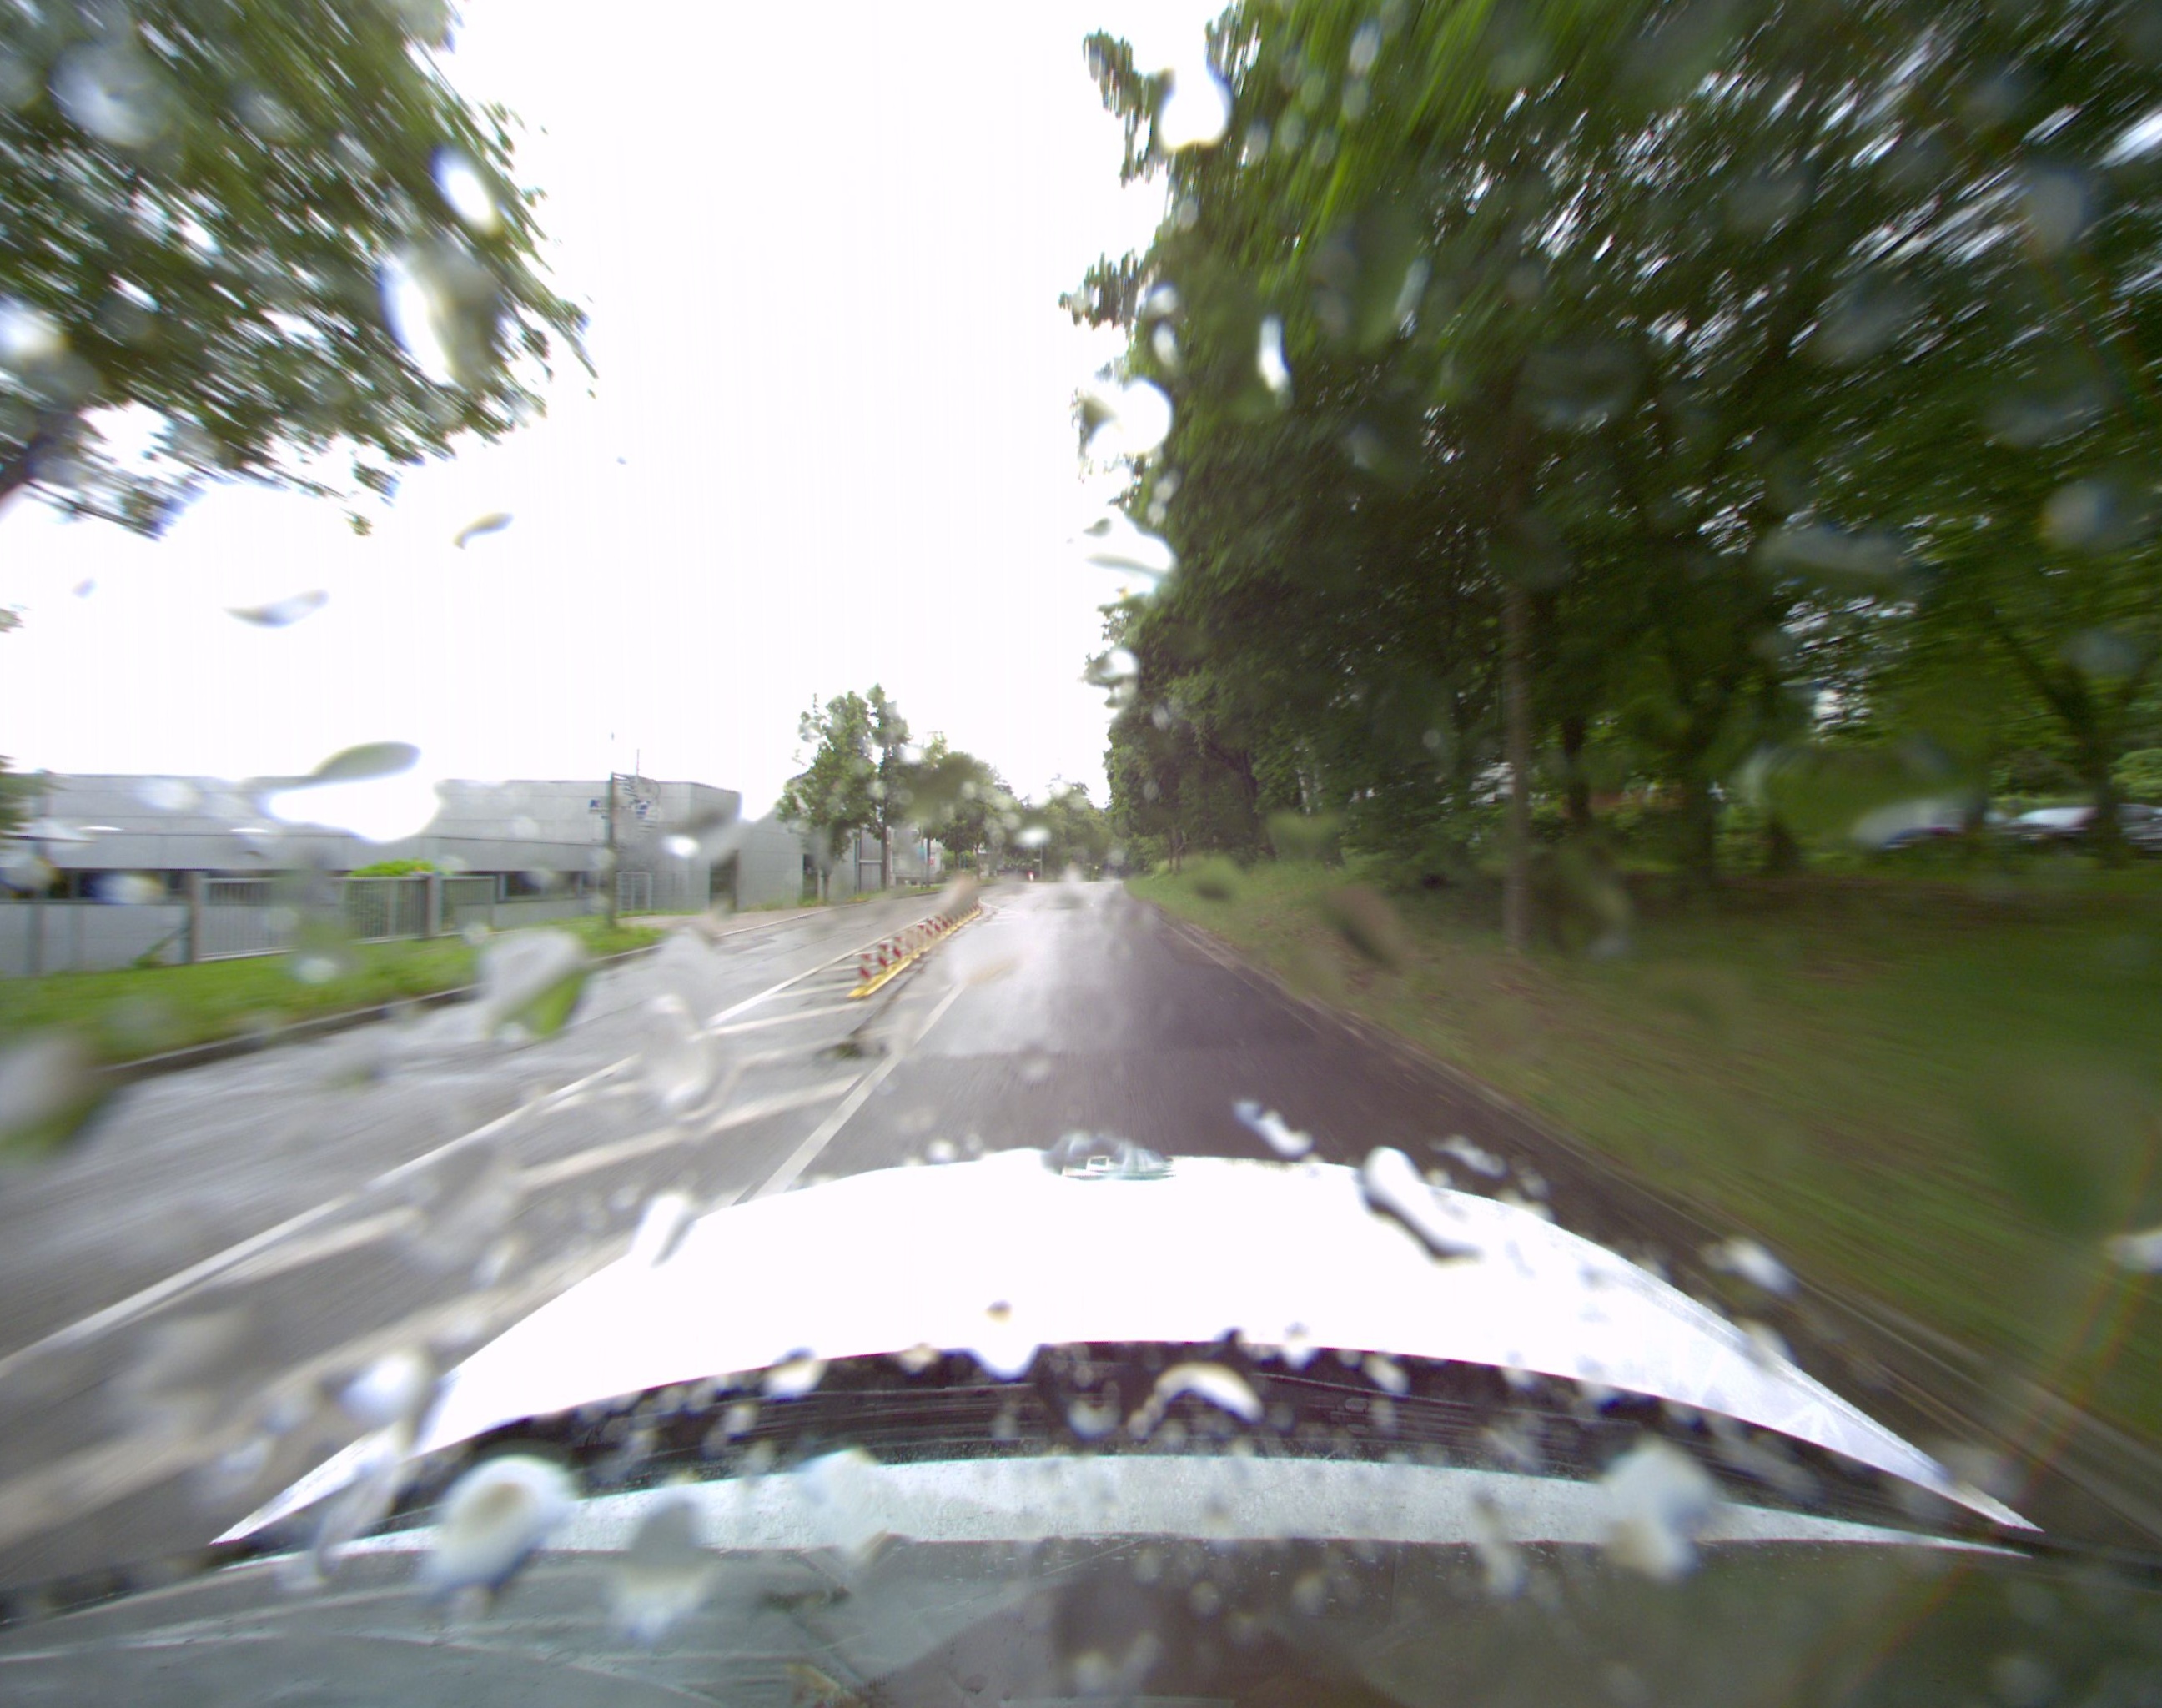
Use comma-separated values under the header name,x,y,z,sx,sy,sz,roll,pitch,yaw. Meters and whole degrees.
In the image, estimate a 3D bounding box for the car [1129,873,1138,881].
name,x,y,z,sx,sy,sz,roll,pitch,yaw
car,10.365,4.506,161.331,1.729,1.510,4.003,-2,-2,3

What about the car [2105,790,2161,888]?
name,x,y,z,sx,sy,sz,roll,pitch,yaw
car,24.187,-0.340,16.945,3.716,2.013,1.620,-1,1,1

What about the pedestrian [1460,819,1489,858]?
name,x,y,z,sx,sy,sz,roll,pitch,yaw
pedestrian,13.298,-0.508,27.511,0.651,1.284,0.625,-2,0,4
